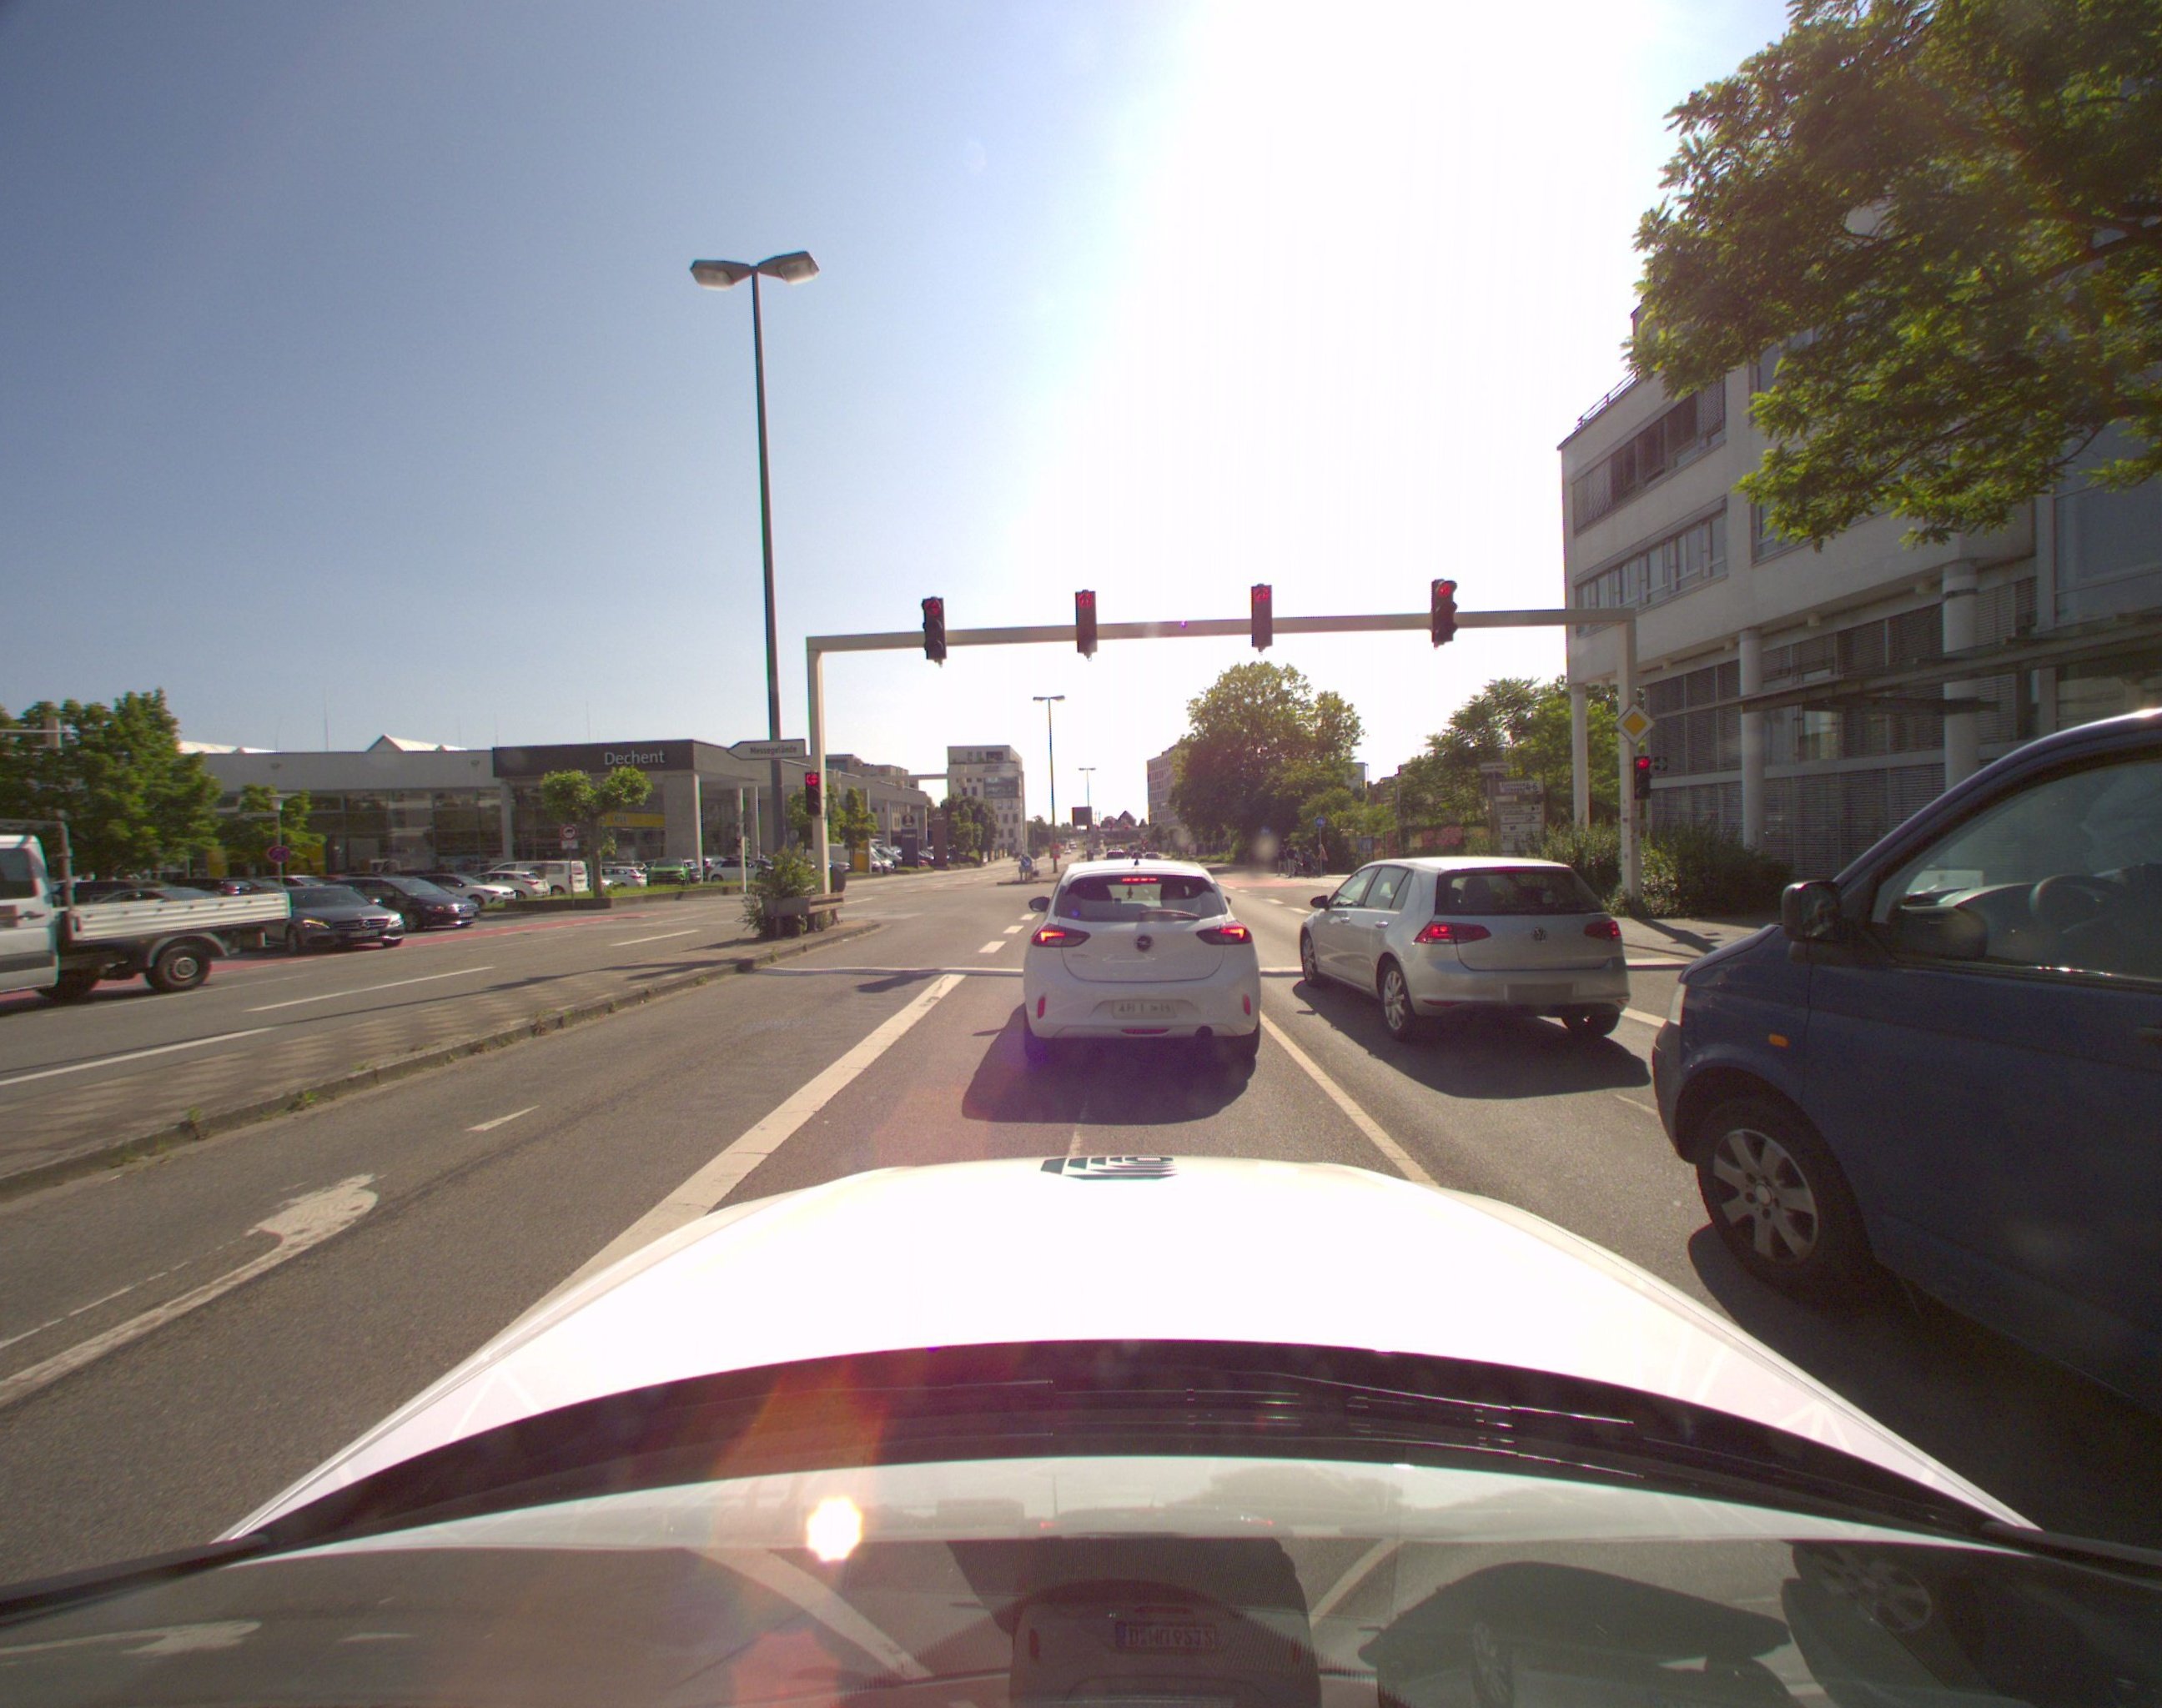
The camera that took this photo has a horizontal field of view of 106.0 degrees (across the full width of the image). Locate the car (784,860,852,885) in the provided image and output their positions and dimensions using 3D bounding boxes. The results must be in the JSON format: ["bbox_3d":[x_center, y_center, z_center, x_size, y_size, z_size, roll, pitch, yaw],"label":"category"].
[{"bbox_3d":[-19.666,1.351,61.068,4.344,1.696,1.999,-2,0,-1],"label":"car"}]

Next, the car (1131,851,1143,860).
[{"bbox_3d":[8.795,0.242,128.200,1.799,1.386,4.001,0,-1,2],"label":"car"}]

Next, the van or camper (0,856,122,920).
[{"bbox_3d":[-41.875,1.362,32.328,4.711,2.400,1.995,-2,0,-8],"label":"van or camper"}]

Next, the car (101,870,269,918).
[{"bbox_3d":[-36.151,1.573,32.973,4.348,1.696,1.997,-2,0,-4],"label":"car"}]

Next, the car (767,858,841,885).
[{"bbox_3d":[-18.875,1.149,55.662,4.343,1.696,1.999,-1,0,-1],"label":"car"}]

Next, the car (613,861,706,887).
[{"bbox_3d":[-24.608,1.174,47.642,4.352,1.268,1.995,-3,-2,-6],"label":"car"}]

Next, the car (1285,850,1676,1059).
[{"bbox_3d":[3.342,0.728,7.797,1.801,1.429,4.000,-2,0,1],"label":"car"}]

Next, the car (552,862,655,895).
[{"bbox_3d":[-26.067,1.299,44.550,4.351,1.591,1.996,-2,0,-7],"label":"car"}]

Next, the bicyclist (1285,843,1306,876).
[{"bbox_3d":[11.507,0.295,43.700,0.875,1.772,0.864,-2,0,2],"label":"bicyclist"}]

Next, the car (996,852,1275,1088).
[{"bbox_3d":[0.415,0.754,7.310,1.773,1.494,4.002,-2,0,2],"label":"car"}]

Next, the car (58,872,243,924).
[{"bbox_3d":[-34.690,1.618,30.483,4.348,1.696,1.997,-2,0,-4],"label":"car"}]

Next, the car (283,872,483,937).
[{"bbox_3d":[-20.001,1.426,23.449,4.105,1.617,1.892,-2,0,2],"label":"car"}]

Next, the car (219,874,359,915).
[{"bbox_3d":[-36.852,1.859,37.974,4.348,1.696,1.997,-2,0,-4],"label":"car"}]

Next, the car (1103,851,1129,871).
[{"bbox_3d":[2.618,0.533,61.113,1.800,1.386,4.000,1,-1,0],"label":"car"}]

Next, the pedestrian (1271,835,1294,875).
[{"bbox_3d":[11.599,0.040,46.842,1.023,2.238,1.039,-2,0,1],"label":"pedestrian"}]

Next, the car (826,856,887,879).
[{"bbox_3d":[-18.381,1.106,66.855,4.331,1.696,2.005,-2,0,9],"label":"car"}]

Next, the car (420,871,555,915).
[{"bbox_3d":[-26.152,1.678,36.023,4.348,1.696,1.997,-2,0,-4],"label":"car"}]

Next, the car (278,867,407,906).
[{"bbox_3d":[-36.535,1.560,40.396,4.352,1.696,1.996,-2,0,-7],"label":"car"}]

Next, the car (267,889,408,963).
[{"bbox_3d":[-17.062,1.554,18.627,3.949,1.360,1.917,0,-1,41],"label":"car"}]

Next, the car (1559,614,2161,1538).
[{"bbox_3d":[3.250,0.447,1.455,1.986,1.948,4.893,-2,0,2],"label":"car"}]

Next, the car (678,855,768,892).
[{"bbox_3d":[-19.165,1.028,43.731,3.859,1.837,1.999,-2,0,-1],"label":"car"}]

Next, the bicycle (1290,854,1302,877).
[{"bbox_3d":[11.547,0.590,43.717,0.371,1.216,1.154,0,0,2],"label":"bicycle"}]

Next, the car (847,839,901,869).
[{"bbox_3d":[-18.959,0.017,74.640,4.334,2.601,2.004,-2,0,6],"label":"car"}]

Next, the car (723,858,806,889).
[{"bbox_3d":[-19.537,1.189,50.457,4.284,1.765,1.999,-2,0,-1],"label":"car"}]

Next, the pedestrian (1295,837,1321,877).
[{"bbox_3d":[11.753,0.133,42.114,1.023,2.013,1.039,-2,0,1],"label":"pedestrian"}]

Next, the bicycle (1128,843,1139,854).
[{"bbox_3d":[9.952,-1.024,155.212,1.986,2.157,4.002,-2,0,2],"label":"bicycle"}]

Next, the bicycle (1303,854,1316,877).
[{"bbox_3d":[11.763,0.592,41.879,0.372,1.147,1.034,0,-1,0],"label":"bicycle"}]

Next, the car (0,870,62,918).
[{"bbox_3d":[-40.538,1.504,29.319,4.371,1.696,1.987,-2,0,-20],"label":"car"}]

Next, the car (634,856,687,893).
[{"bbox_3d":[-21.167,1.045,40.913,1.915,1.733,3.258,-2,-1,-35],"label":"car"}]

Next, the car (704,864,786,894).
[{"bbox_3d":[-19.692,1.457,47.902,3.981,1.599,1.996,-2,0,-5],"label":"car"}]

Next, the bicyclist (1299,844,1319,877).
[{"bbox_3d":[11.736,0.342,41.925,0.687,1.643,0.775,-2,0,-7],"label":"bicyclist"}]

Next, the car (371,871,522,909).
[{"bbox_3d":[-25.468,1.424,32.825,4.348,1.299,1.997,-2,0,-4],"label":"car"}]

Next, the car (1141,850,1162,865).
[{"bbox_3d":[6.766,0.367,78.418,1.799,1.386,4.001,0,-1,2],"label":"car"}]

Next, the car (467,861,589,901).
[{"bbox_3d":[-26.478,1.258,39.162,4.353,1.696,1.995,-2,0,-7],"label":"car"}]

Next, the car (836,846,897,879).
[{"bbox_3d":[-18.237,0.698,69.287,4.469,2.684,2.134,-2,0,10],"label":"car"}]

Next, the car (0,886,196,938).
[{"bbox_3d":[-28.784,1.626,23.418,3.995,1.331,1.989,0,-1,-16],"label":"car"}]

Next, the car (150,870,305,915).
[{"bbox_3d":[-36.777,1.622,35.186,4.348,1.696,1.997,-2,0,-4],"label":"car"}]

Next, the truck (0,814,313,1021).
[{"bbox_3d":[-14.438,0.813,10.634,2.346,2.545,6.445,-1,0,4],"label":"truck"}]

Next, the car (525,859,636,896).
[{"bbox_3d":[-25.659,1.161,41.894,4.353,1.696,1.995,-2,0,-7],"label":"car"}]
